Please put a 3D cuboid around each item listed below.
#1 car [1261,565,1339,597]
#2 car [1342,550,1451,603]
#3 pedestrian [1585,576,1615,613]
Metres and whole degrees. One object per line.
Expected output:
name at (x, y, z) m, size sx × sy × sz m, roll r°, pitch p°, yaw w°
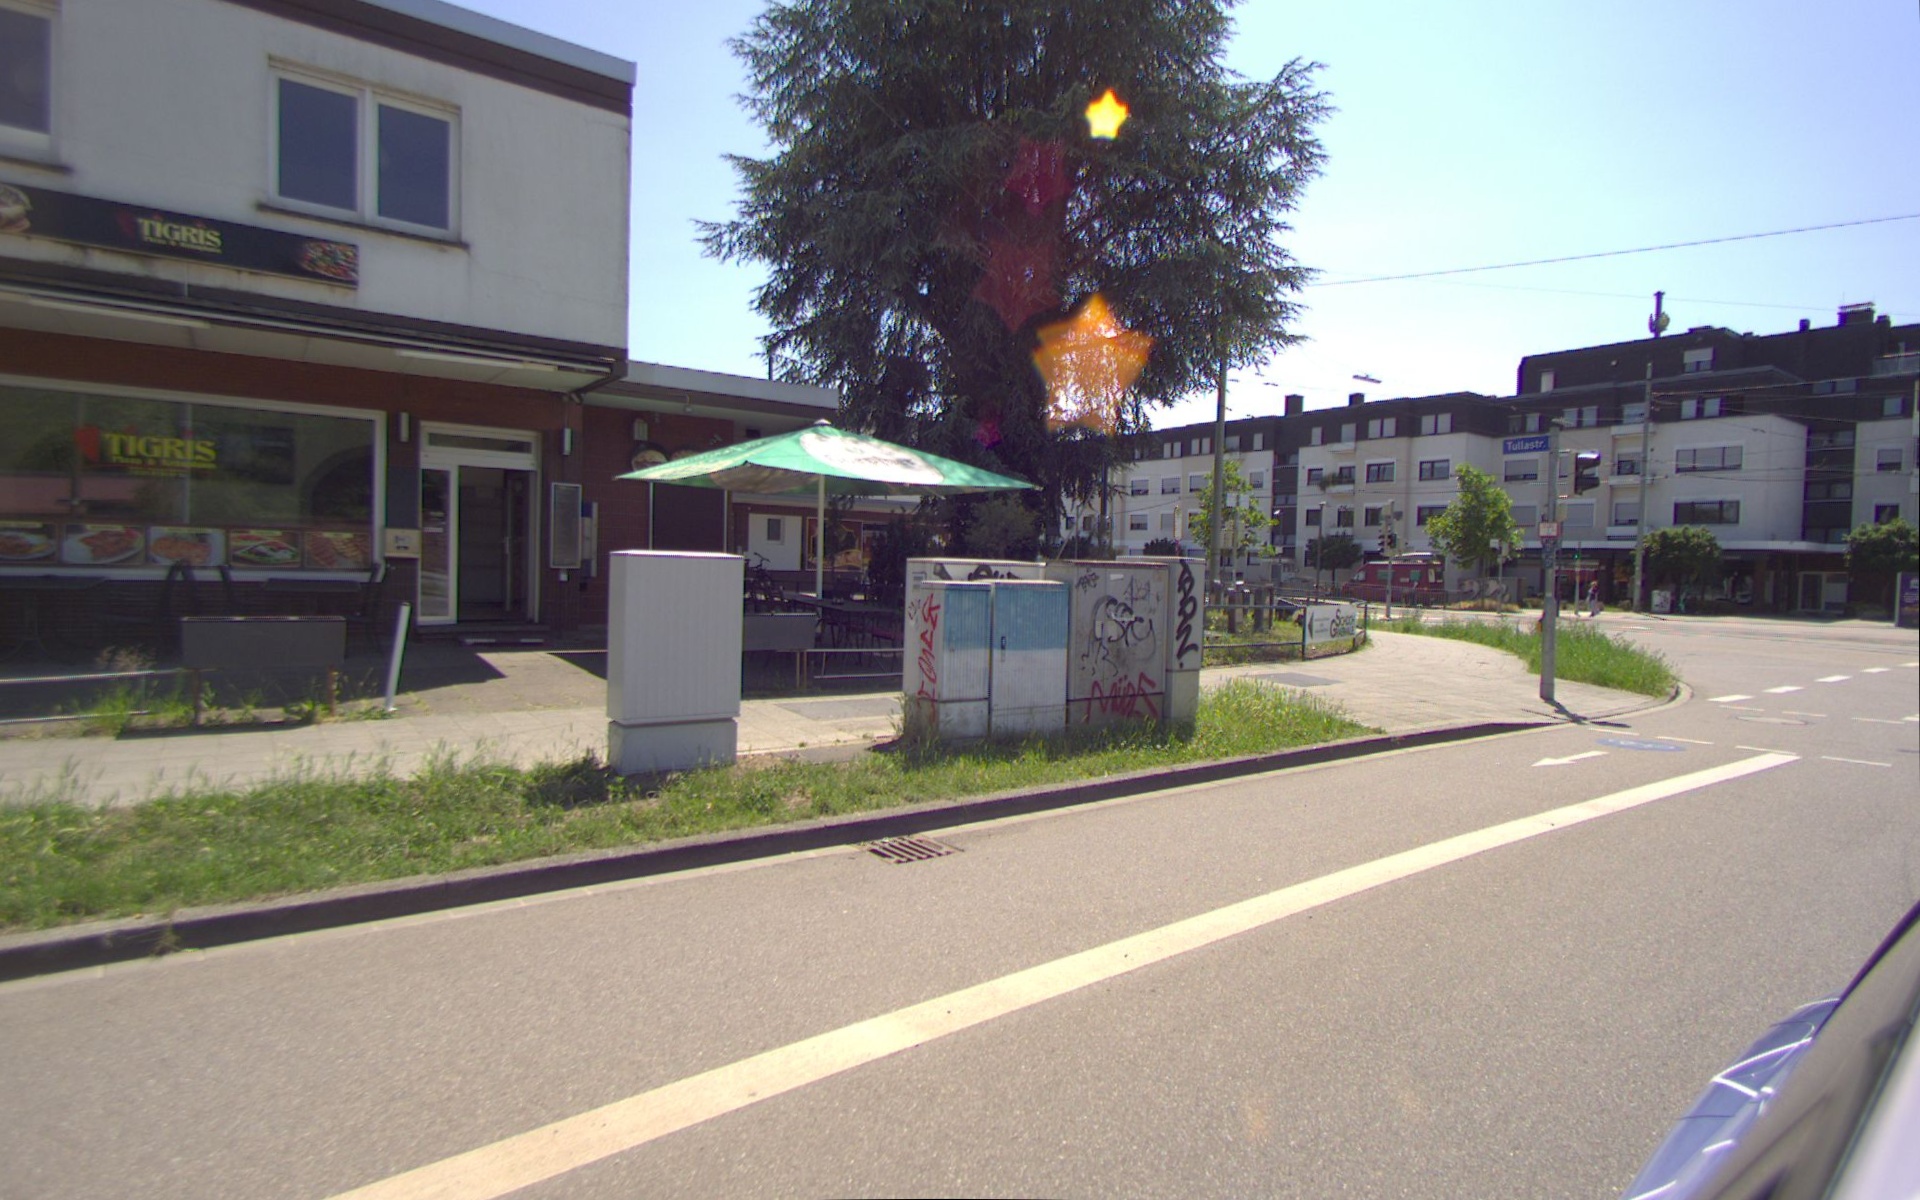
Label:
car at (20.390, -1.169, 60.737) m, size 1.964 × 1.771 × 3.998 m, roll -1°, pitch 3°, yaw -38°
car at (24.015, -1.356, 55.861) m, size 1.964 × 2.761 × 5.206 m, roll 0°, pitch 2°, yaw -37°
pedestrian at (29.313, -0.240, 46.352) m, size 0.924 × 1.645 × 0.809 m, roll 1°, pitch 2°, yaw -30°
